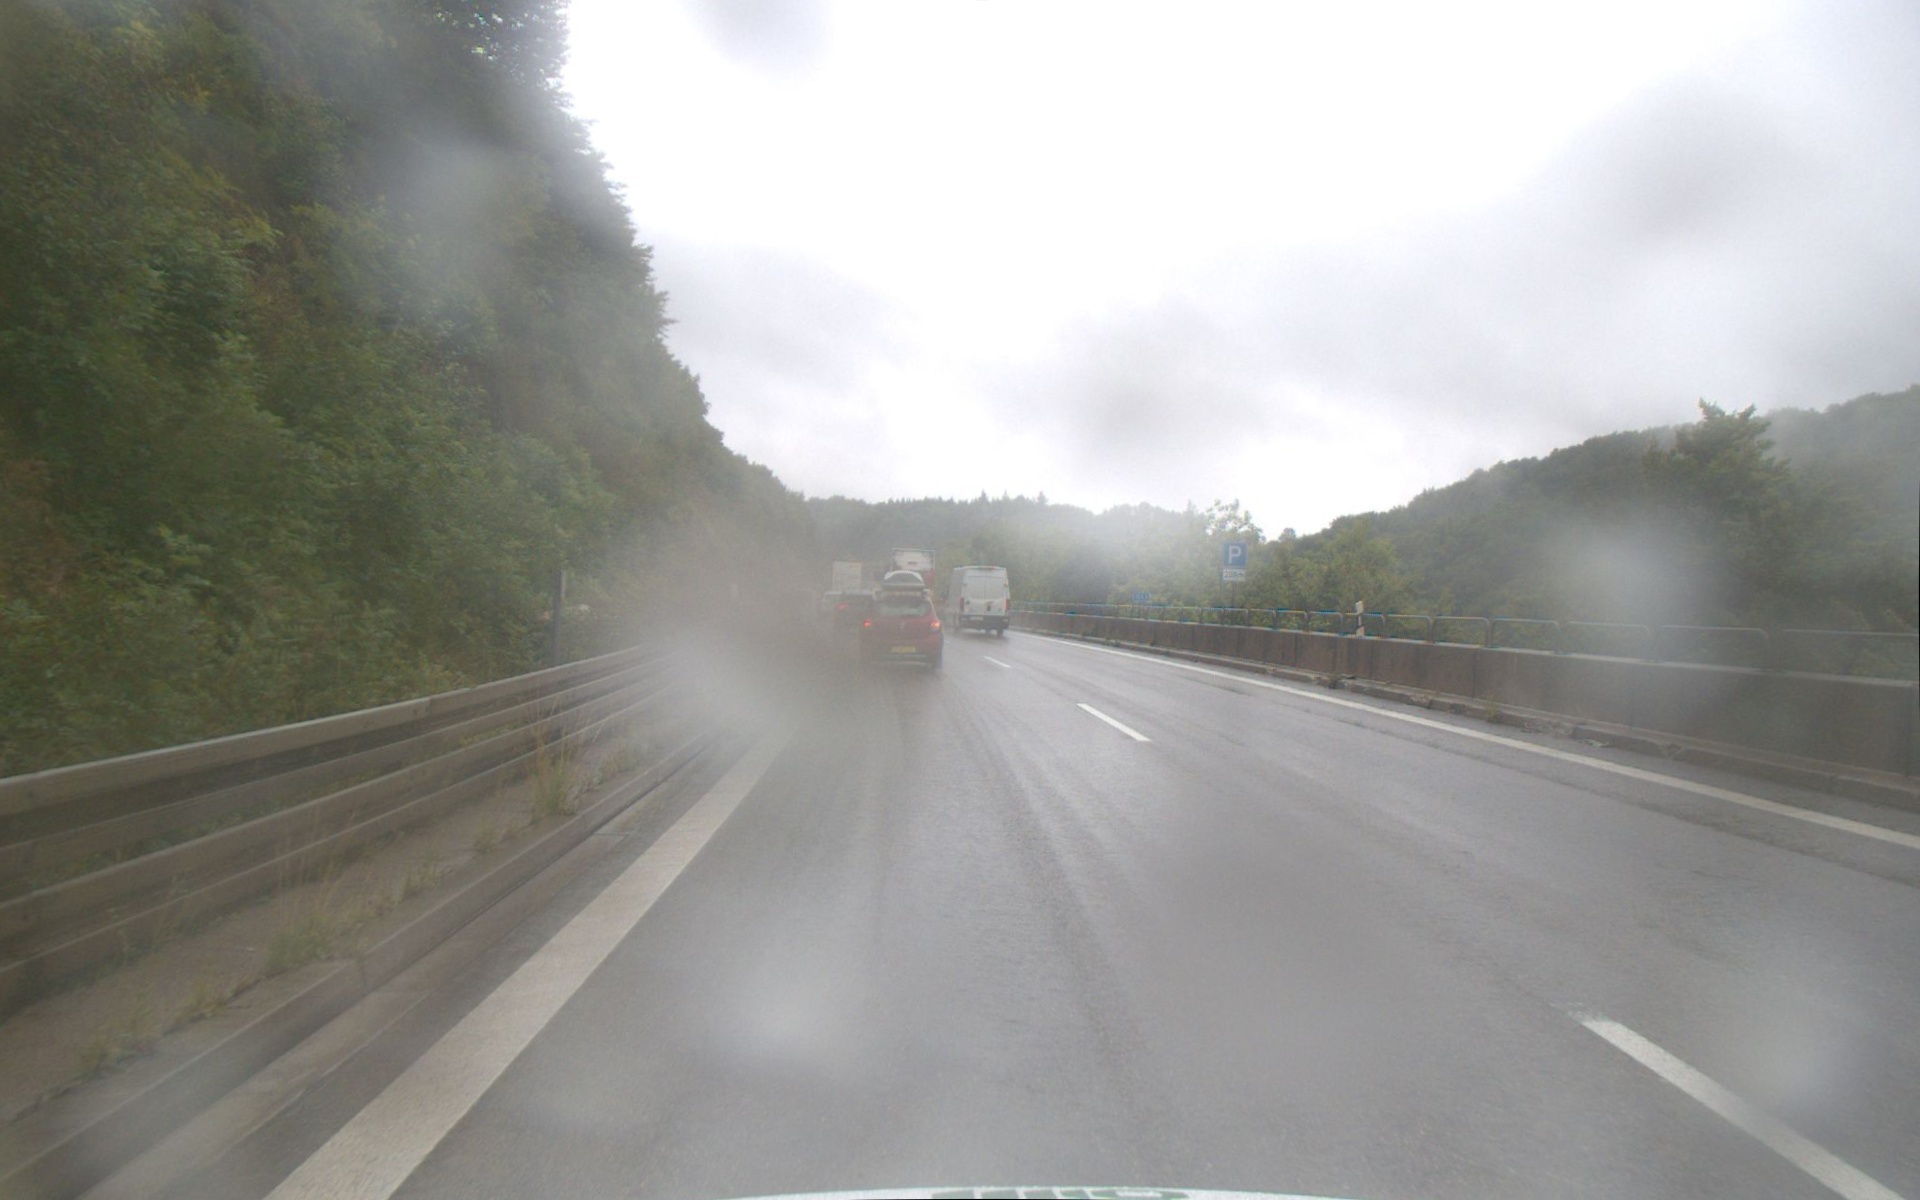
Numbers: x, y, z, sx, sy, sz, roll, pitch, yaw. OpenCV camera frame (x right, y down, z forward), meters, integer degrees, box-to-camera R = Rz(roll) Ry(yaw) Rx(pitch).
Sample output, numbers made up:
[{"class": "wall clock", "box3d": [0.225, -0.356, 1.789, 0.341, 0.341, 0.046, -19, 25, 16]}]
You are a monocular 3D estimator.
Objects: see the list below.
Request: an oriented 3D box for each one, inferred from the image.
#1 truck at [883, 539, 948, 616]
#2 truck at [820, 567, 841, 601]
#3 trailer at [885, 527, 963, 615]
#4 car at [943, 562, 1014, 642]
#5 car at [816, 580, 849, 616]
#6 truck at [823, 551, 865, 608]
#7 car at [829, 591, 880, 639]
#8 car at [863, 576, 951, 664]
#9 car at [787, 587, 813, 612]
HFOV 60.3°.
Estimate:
[{"class": "truck", "box3d": [-2.557, -1.249, 92.978, 3.157, 4.047, 5.433, 3, 0, -5]}, {"class": "truck", "box3d": [-14.098, -1.706, 179.525, 2.064, 3.480, 6.214, 1, 0, -6]}, {"class": "trailer", "box3d": [-2.038, -1.384, 86.124, 3.155, 4.068, 13.512, 3, 0, -4]}, {"class": "car", "box3d": [0.647, 0.065, 65.526, 2.162, 2.842, 7.378, 4, 0, -3]}, {"class": "car", "box3d": [-6.662, -0.099, 86.248, 1.682, 1.849, 3.888, 1, 0, -5]}, {"class": "truck", "box3d": [-10.086, -1.696, 143.215, 3.161, 4.764, 8.286, 1, 0, -7]}, {"class": "car", "box3d": [-3.917, 0.556, 61.768, 1.787, 1.726, 3.997, 1, 0, -3]}, {"class": "car", "box3d": [-1.126, 0.410, 34.806, 1.723, 1.714, 3.998, 1, 0, -3]}, {"class": "car", "box3d": [-13.155, -0.027, 135.945, 1.954, 2.049, 3.997, 1, 0, -3]}]
